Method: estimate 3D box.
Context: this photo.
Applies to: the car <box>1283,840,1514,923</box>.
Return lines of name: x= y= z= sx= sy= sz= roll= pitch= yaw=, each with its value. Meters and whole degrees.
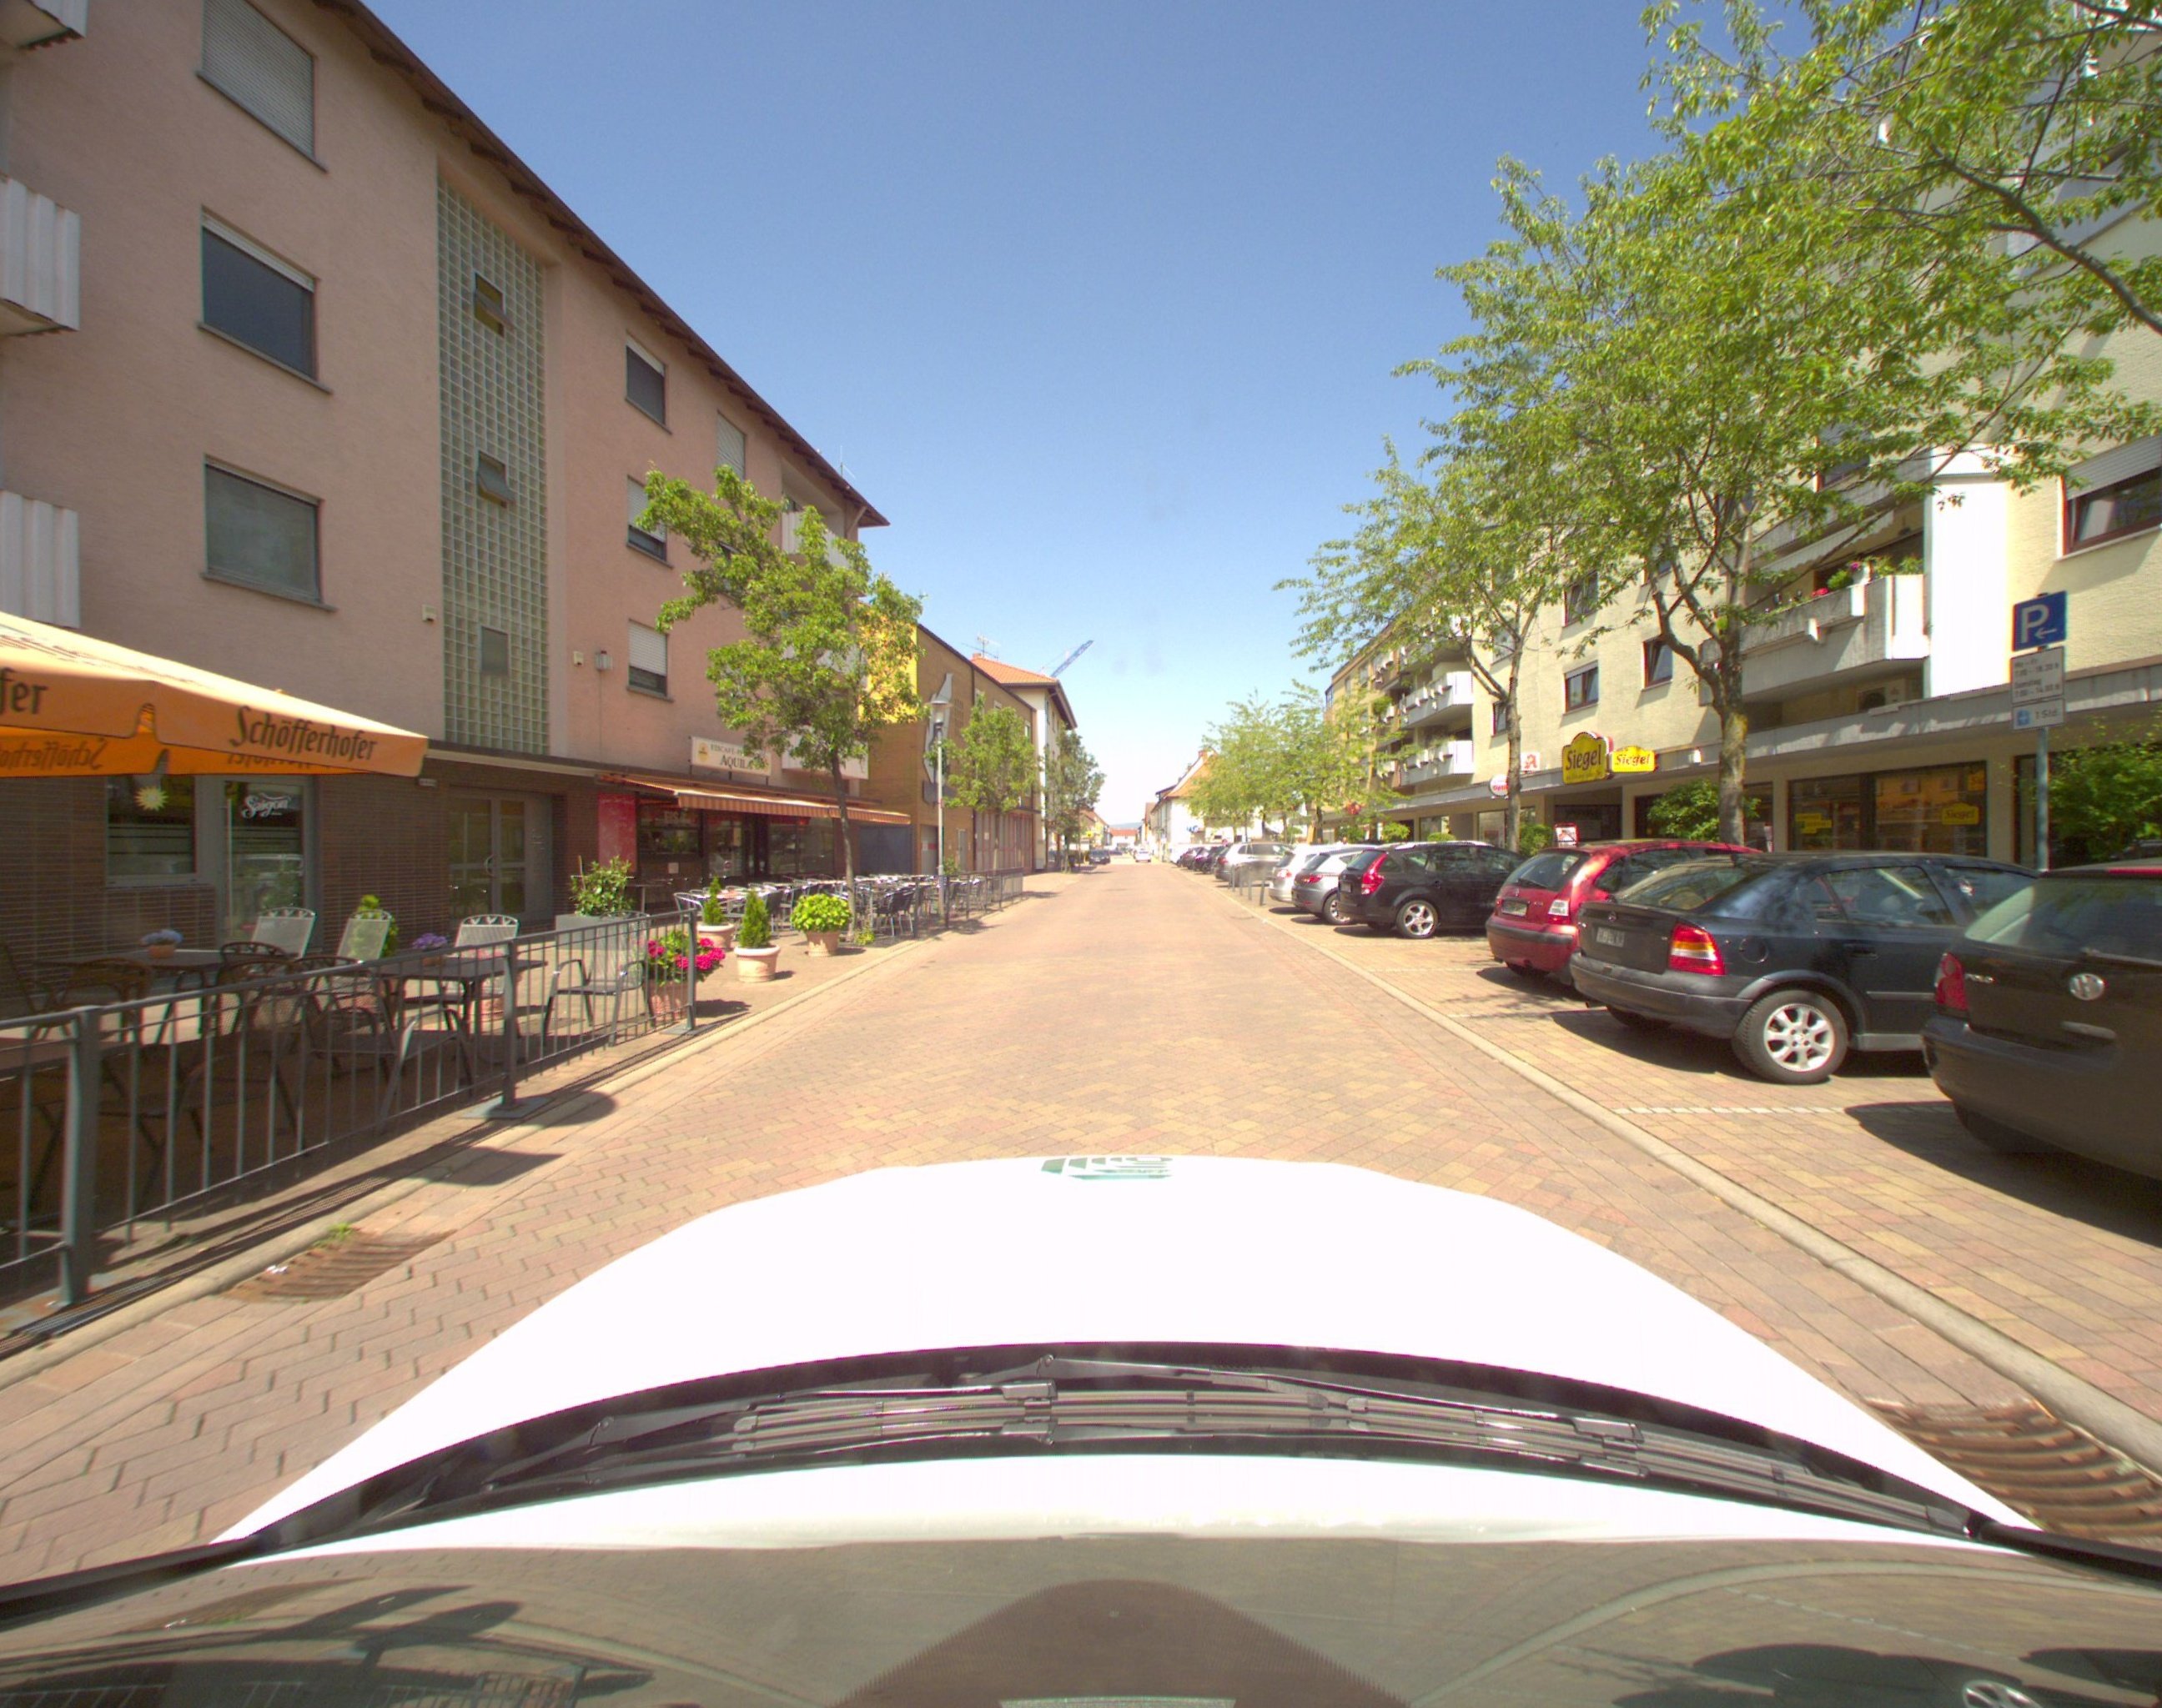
car: x=6.008 y=0.517 z=15.829 sx=3.914 sy=1.489 sz=1.720 roll=-1 pitch=0 yaw=9

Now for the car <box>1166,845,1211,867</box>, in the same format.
car: x=8.815 y=0.135 z=66.991 sx=3.469 sy=1.700 sz=1.535 roll=-2 pitch=0 yaw=-2

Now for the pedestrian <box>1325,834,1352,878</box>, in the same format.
pedestrian: x=10.604 y=0.060 z=33.608 sx=0.835 sy=1.786 sz=0.806 roll=-1 pitch=1 yaw=-3

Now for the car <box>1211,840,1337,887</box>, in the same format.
car: x=6.957 y=0.332 z=29.651 sx=4.227 sy=1.615 sz=1.559 roll=-1 pitch=0 yaw=2

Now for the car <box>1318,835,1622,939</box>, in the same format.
car: x=6.319 y=0.498 z=13.611 sx=4.168 sy=1.541 sz=1.946 roll=-1 pitch=0 yaw=0

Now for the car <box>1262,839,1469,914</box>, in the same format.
car: x=6.330 y=0.484 z=18.484 sx=4.133 sy=1.574 sz=1.762 roll=-1 pitch=1 yaw=5

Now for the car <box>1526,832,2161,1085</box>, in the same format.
car: x=5.719 y=0.627 z=5.827 sx=4.080 sy=1.431 sz=1.786 roll=-2 pitch=1 yaw=3

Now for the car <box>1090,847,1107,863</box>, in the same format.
car: x=1.807 y=0.087 z=82.524 sx=1.501 sy=1.500 sz=3.832 roll=-1 pitch=1 yaw=4

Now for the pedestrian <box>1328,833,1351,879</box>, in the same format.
pedestrian: x=10.144 y=0.060 z=31.981 sx=0.831 sy=1.786 sz=0.810 roll=0 pitch=1 yaw=16

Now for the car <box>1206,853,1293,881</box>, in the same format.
car: x=7.327 y=0.564 z=35.543 sx=3.511 sy=1.141 sz=1.273 roll=-1 pitch=0 yaw=-1

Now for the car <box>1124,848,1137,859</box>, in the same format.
car: x=7.371 y=-0.110 z=120.799 sx=1.739 sy=1.481 sz=3.634 roll=-1 pitch=1 yaw=4

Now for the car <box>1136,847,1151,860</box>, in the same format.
car: x=7.720 y=-0.061 z=101.073 sx=1.823 sy=1.532 sz=3.950 roll=-1 pitch=1 yaw=4

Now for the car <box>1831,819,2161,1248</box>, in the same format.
car: x=5.778 y=0.586 z=3.219 sx=3.943 sy=1.510 sz=1.773 roll=-1 pitch=0 yaw=2

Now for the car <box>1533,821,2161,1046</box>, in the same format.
car: x=6.137 y=0.580 z=6.818 sx=3.707 sy=1.534 sz=1.767 roll=-2 pitch=1 yaw=3

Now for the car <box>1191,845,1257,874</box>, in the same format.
car: x=8.187 y=0.313 z=46.850 sx=3.507 sy=1.655 sz=1.712 roll=-1 pitch=0 yaw=2

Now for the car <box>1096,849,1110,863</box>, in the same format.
car: x=2.583 y=0.256 z=94.468 sx=1.501 sy=1.500 sz=3.832 roll=-1 pitch=1 yaw=4

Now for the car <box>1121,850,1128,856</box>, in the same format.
car: x=11.755 y=-0.354 z=218.065 sx=1.739 sy=1.481 sz=3.634 roll=-1 pitch=1 yaw=4

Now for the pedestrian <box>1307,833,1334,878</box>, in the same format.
pedestrian: x=9.728 y=0.040 z=33.060 sx=0.835 sy=1.786 sz=0.806 roll=-1 pitch=1 yaw=-3

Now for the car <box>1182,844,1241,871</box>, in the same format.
car: x=8.085 y=0.221 z=50.646 sx=3.507 sy=1.624 sz=1.712 roll=-1 pitch=0 yaw=2
